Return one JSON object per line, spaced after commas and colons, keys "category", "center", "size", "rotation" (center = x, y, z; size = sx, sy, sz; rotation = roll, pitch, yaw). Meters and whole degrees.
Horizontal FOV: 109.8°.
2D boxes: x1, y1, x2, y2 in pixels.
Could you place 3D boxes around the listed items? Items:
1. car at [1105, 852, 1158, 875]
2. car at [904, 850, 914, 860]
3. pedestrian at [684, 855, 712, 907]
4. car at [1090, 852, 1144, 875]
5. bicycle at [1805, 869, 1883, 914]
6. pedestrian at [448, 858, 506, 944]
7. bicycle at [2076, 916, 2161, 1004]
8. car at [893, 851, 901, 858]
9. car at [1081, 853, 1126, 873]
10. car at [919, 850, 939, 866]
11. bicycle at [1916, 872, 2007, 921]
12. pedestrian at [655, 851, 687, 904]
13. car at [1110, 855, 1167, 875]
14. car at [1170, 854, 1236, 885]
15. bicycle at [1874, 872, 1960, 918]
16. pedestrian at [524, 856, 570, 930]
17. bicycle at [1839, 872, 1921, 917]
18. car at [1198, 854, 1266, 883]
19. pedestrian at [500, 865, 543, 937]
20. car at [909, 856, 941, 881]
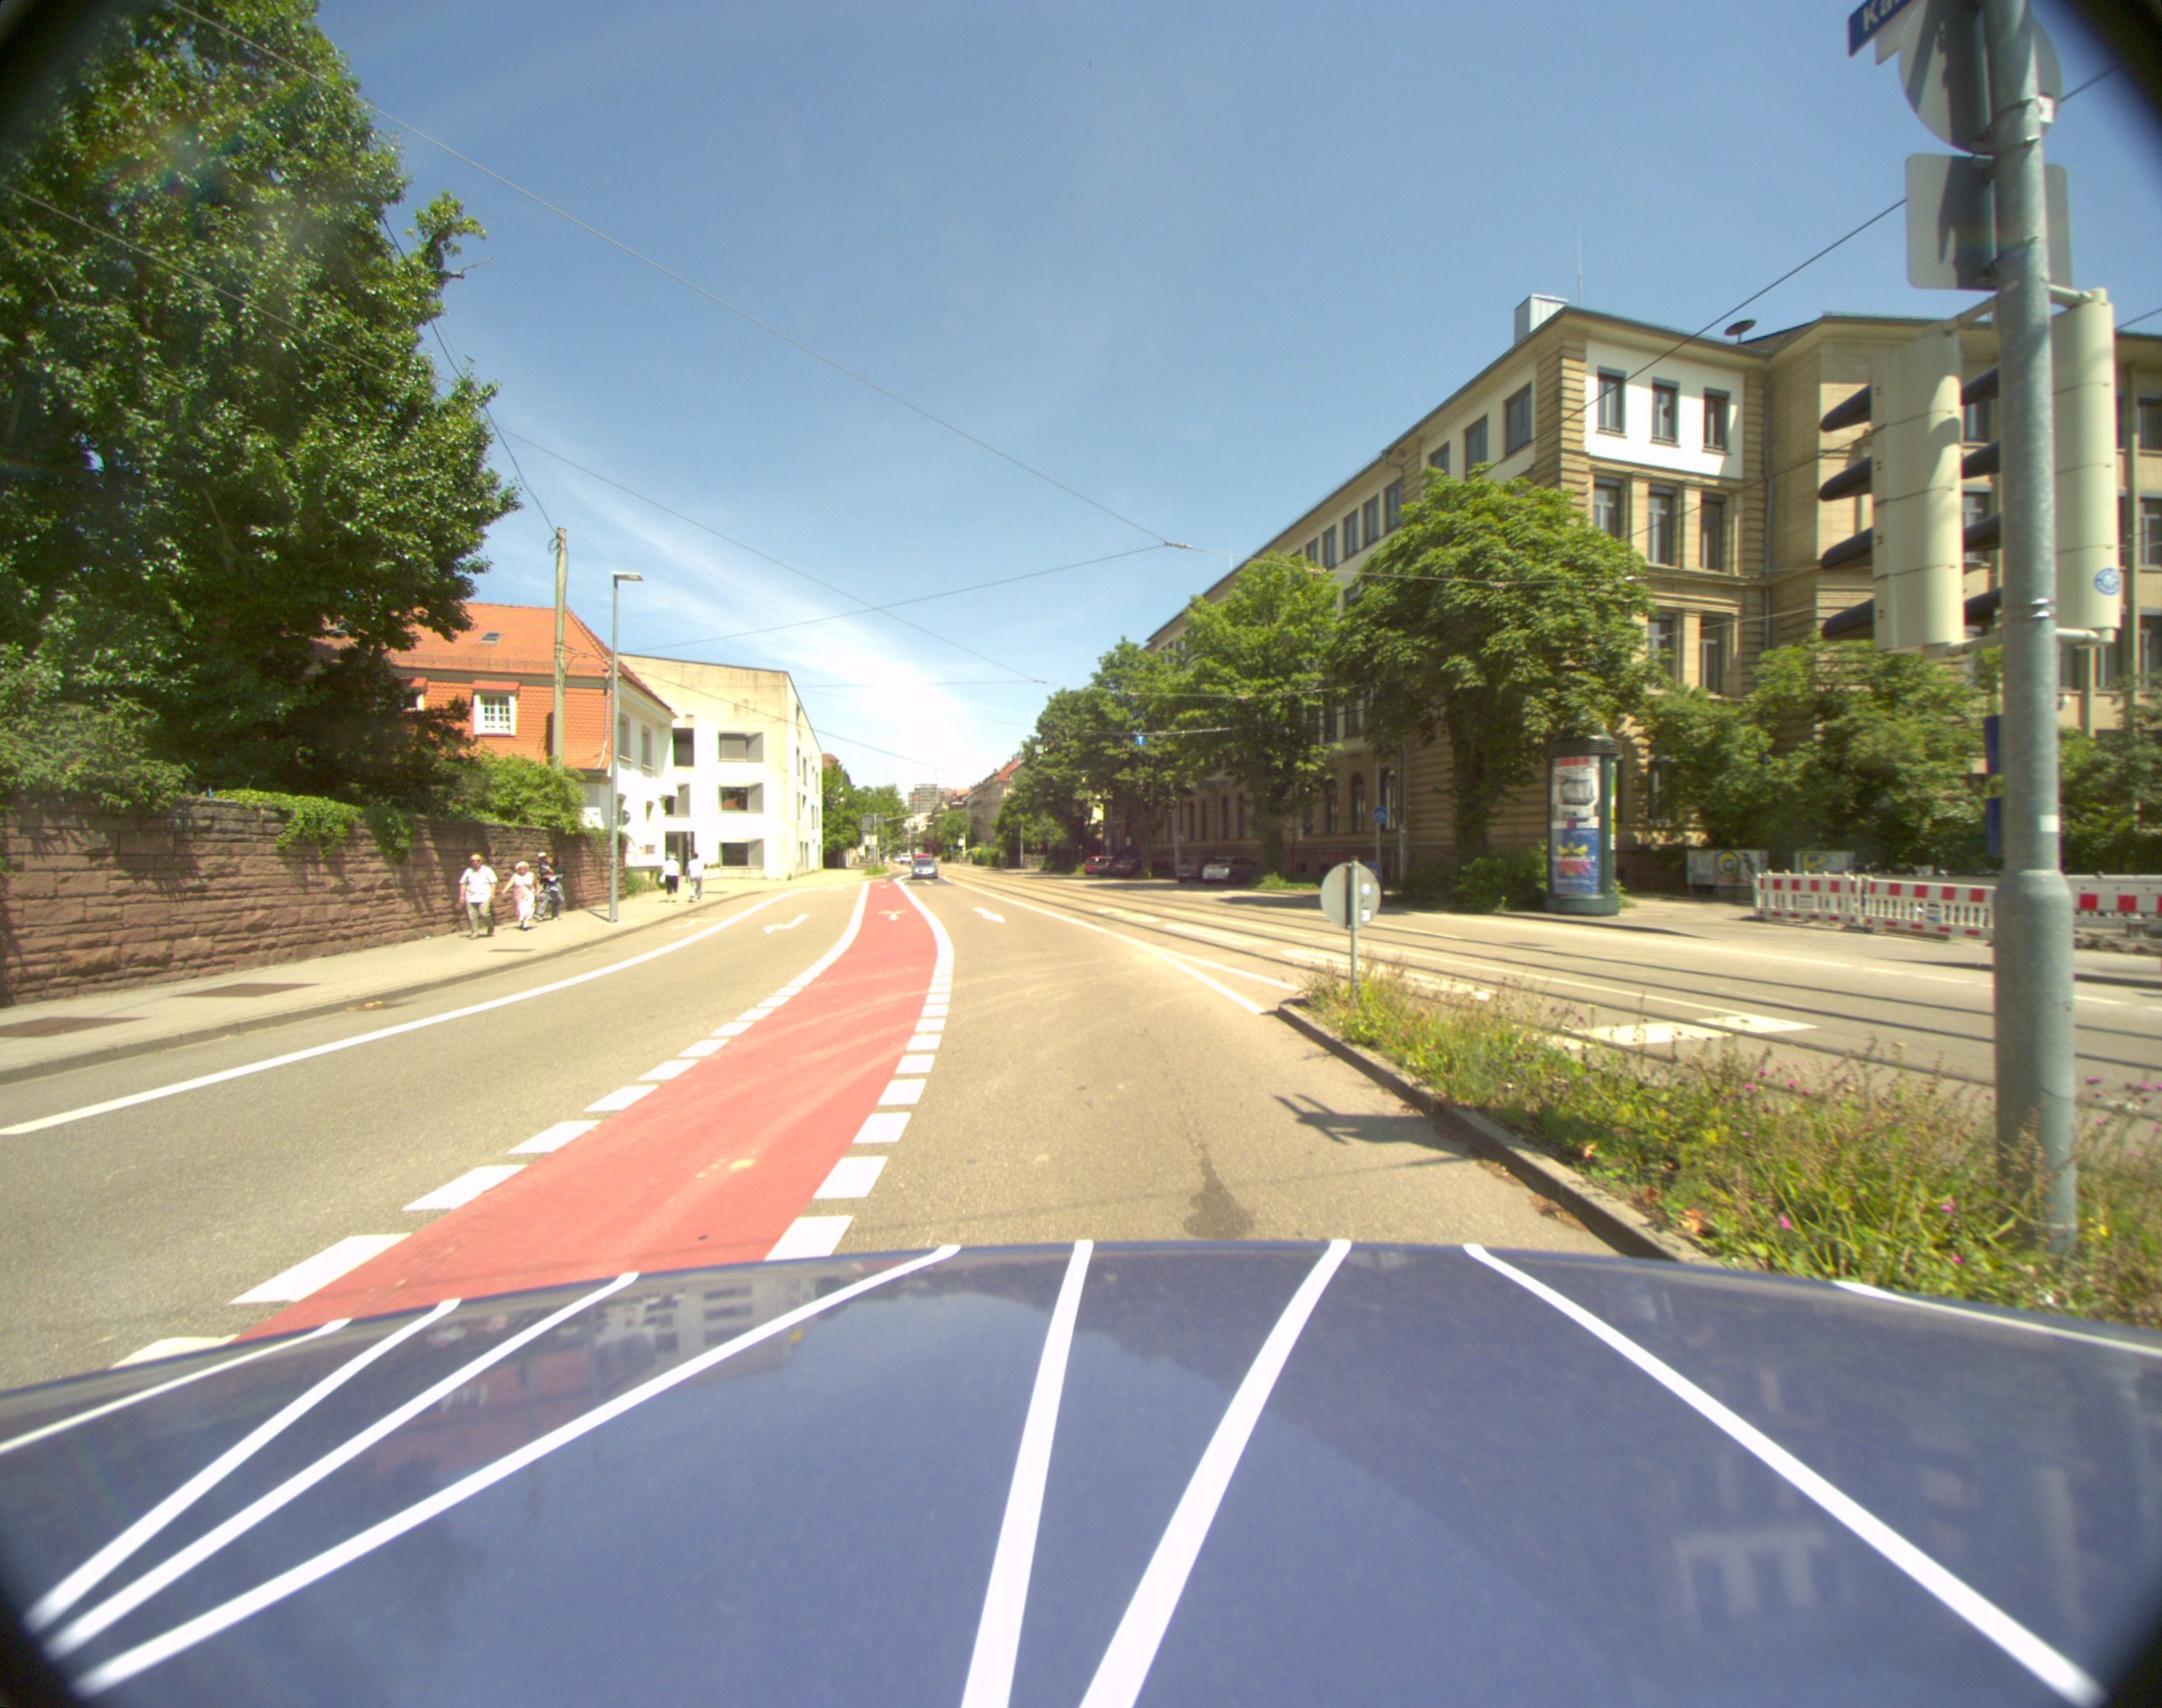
{"category": "car", "center": [3.725, 0.675, 55.863], "size": [3.826, 1.567, 1.788], "rotation": [0, 0, -44]}
{"category": "car", "center": [-30.813, 0.087, 135.810], "size": [1.622, 1.700, 3.424], "rotation": [-1, 1, -14]}
{"category": "pedestrian", "center": [-13.395, 0.922, 26.601], "size": [0.679, 1.797, 0.747], "rotation": [0, 1, -11]}
{"category": "car", "center": [2.826, 0.719, 58.683], "size": [4.330, 1.575, 1.664], "rotation": [-2, 2, -44]}
{"category": "bicycle", "center": [20.128, 0.981, 20.047], "size": [1.687, 1.141, 0.463], "rotation": [-1, 2, -5]}
{"category": "pedestrian", "center": [-11.823, 0.898, 14.894], "size": [0.663, 1.637, 0.624], "rotation": [0, 1, -10]}
{"category": "bicycle", "center": [12.295, 1.190, 7.871], "size": [0.505, 0.909, 2.366], "rotation": [0, 0, -19]}
{"category": "car", "center": [-44.342, 0.071, 183.365], "size": [1.885, 1.675, 3.363], "rotation": [-1, 1, -13]}
{"category": "car", "center": [1.840, 0.728, 61.796], "size": [3.359, 1.507, 1.664], "rotation": [-2, 1, -41]}
{"category": "car", "center": [-16.523, 0.445, 82.424], "size": [1.877, 1.638, 3.773], "rotation": [-1, 1, -15]}
{"category": "bicycle", "center": [20.487, 0.978, 17.687], "size": [1.738, 1.096, 0.504], "rotation": [0, 1, -8]}
{"category": "pedestrian", "center": [-14.253, 0.802, 26.429], "size": [0.817, 1.797, 0.699], "rotation": [0, 1, -11]}
{"category": "car", "center": [4.056, 0.758, 52.930], "size": [3.942, 1.366, 1.664], "rotation": [0, 0, -40]}
{"category": "car", "center": [6.857, 0.829, 42.511], "size": [3.684, 1.511, 1.664], "rotation": [-2, 2, -43]}
{"category": "bicycle", "center": [20.357, 0.989, 18.512], "size": [1.738, 1.096, 0.504], "rotation": [0, 1, -8]}
{"category": "pedestrian", "center": [-13.018, 0.932, 18.542], "size": [0.719, 1.763, 0.628], "rotation": [-1, 0, -13]}
{"category": "bicycle", "center": [20.248, 1.025, 19.258], "size": [1.738, 1.096, 0.504], "rotation": [0, 1, -8]}
{"category": "car", "center": [7.926, 0.728, 39.788], "size": [3.556, 1.398, 1.697], "rotation": [-1, 1, -43]}
{"category": "pedestrian", "center": [-12.195, 1.004, 16.574], "size": [0.517, 1.524, 0.597], "rotation": [0, 1, -10]}
{"category": "car", "center": [-10.758, 0.954, 52.327], "size": [1.895, 1.561, 4.031], "rotation": [-1, 1, -15]}
